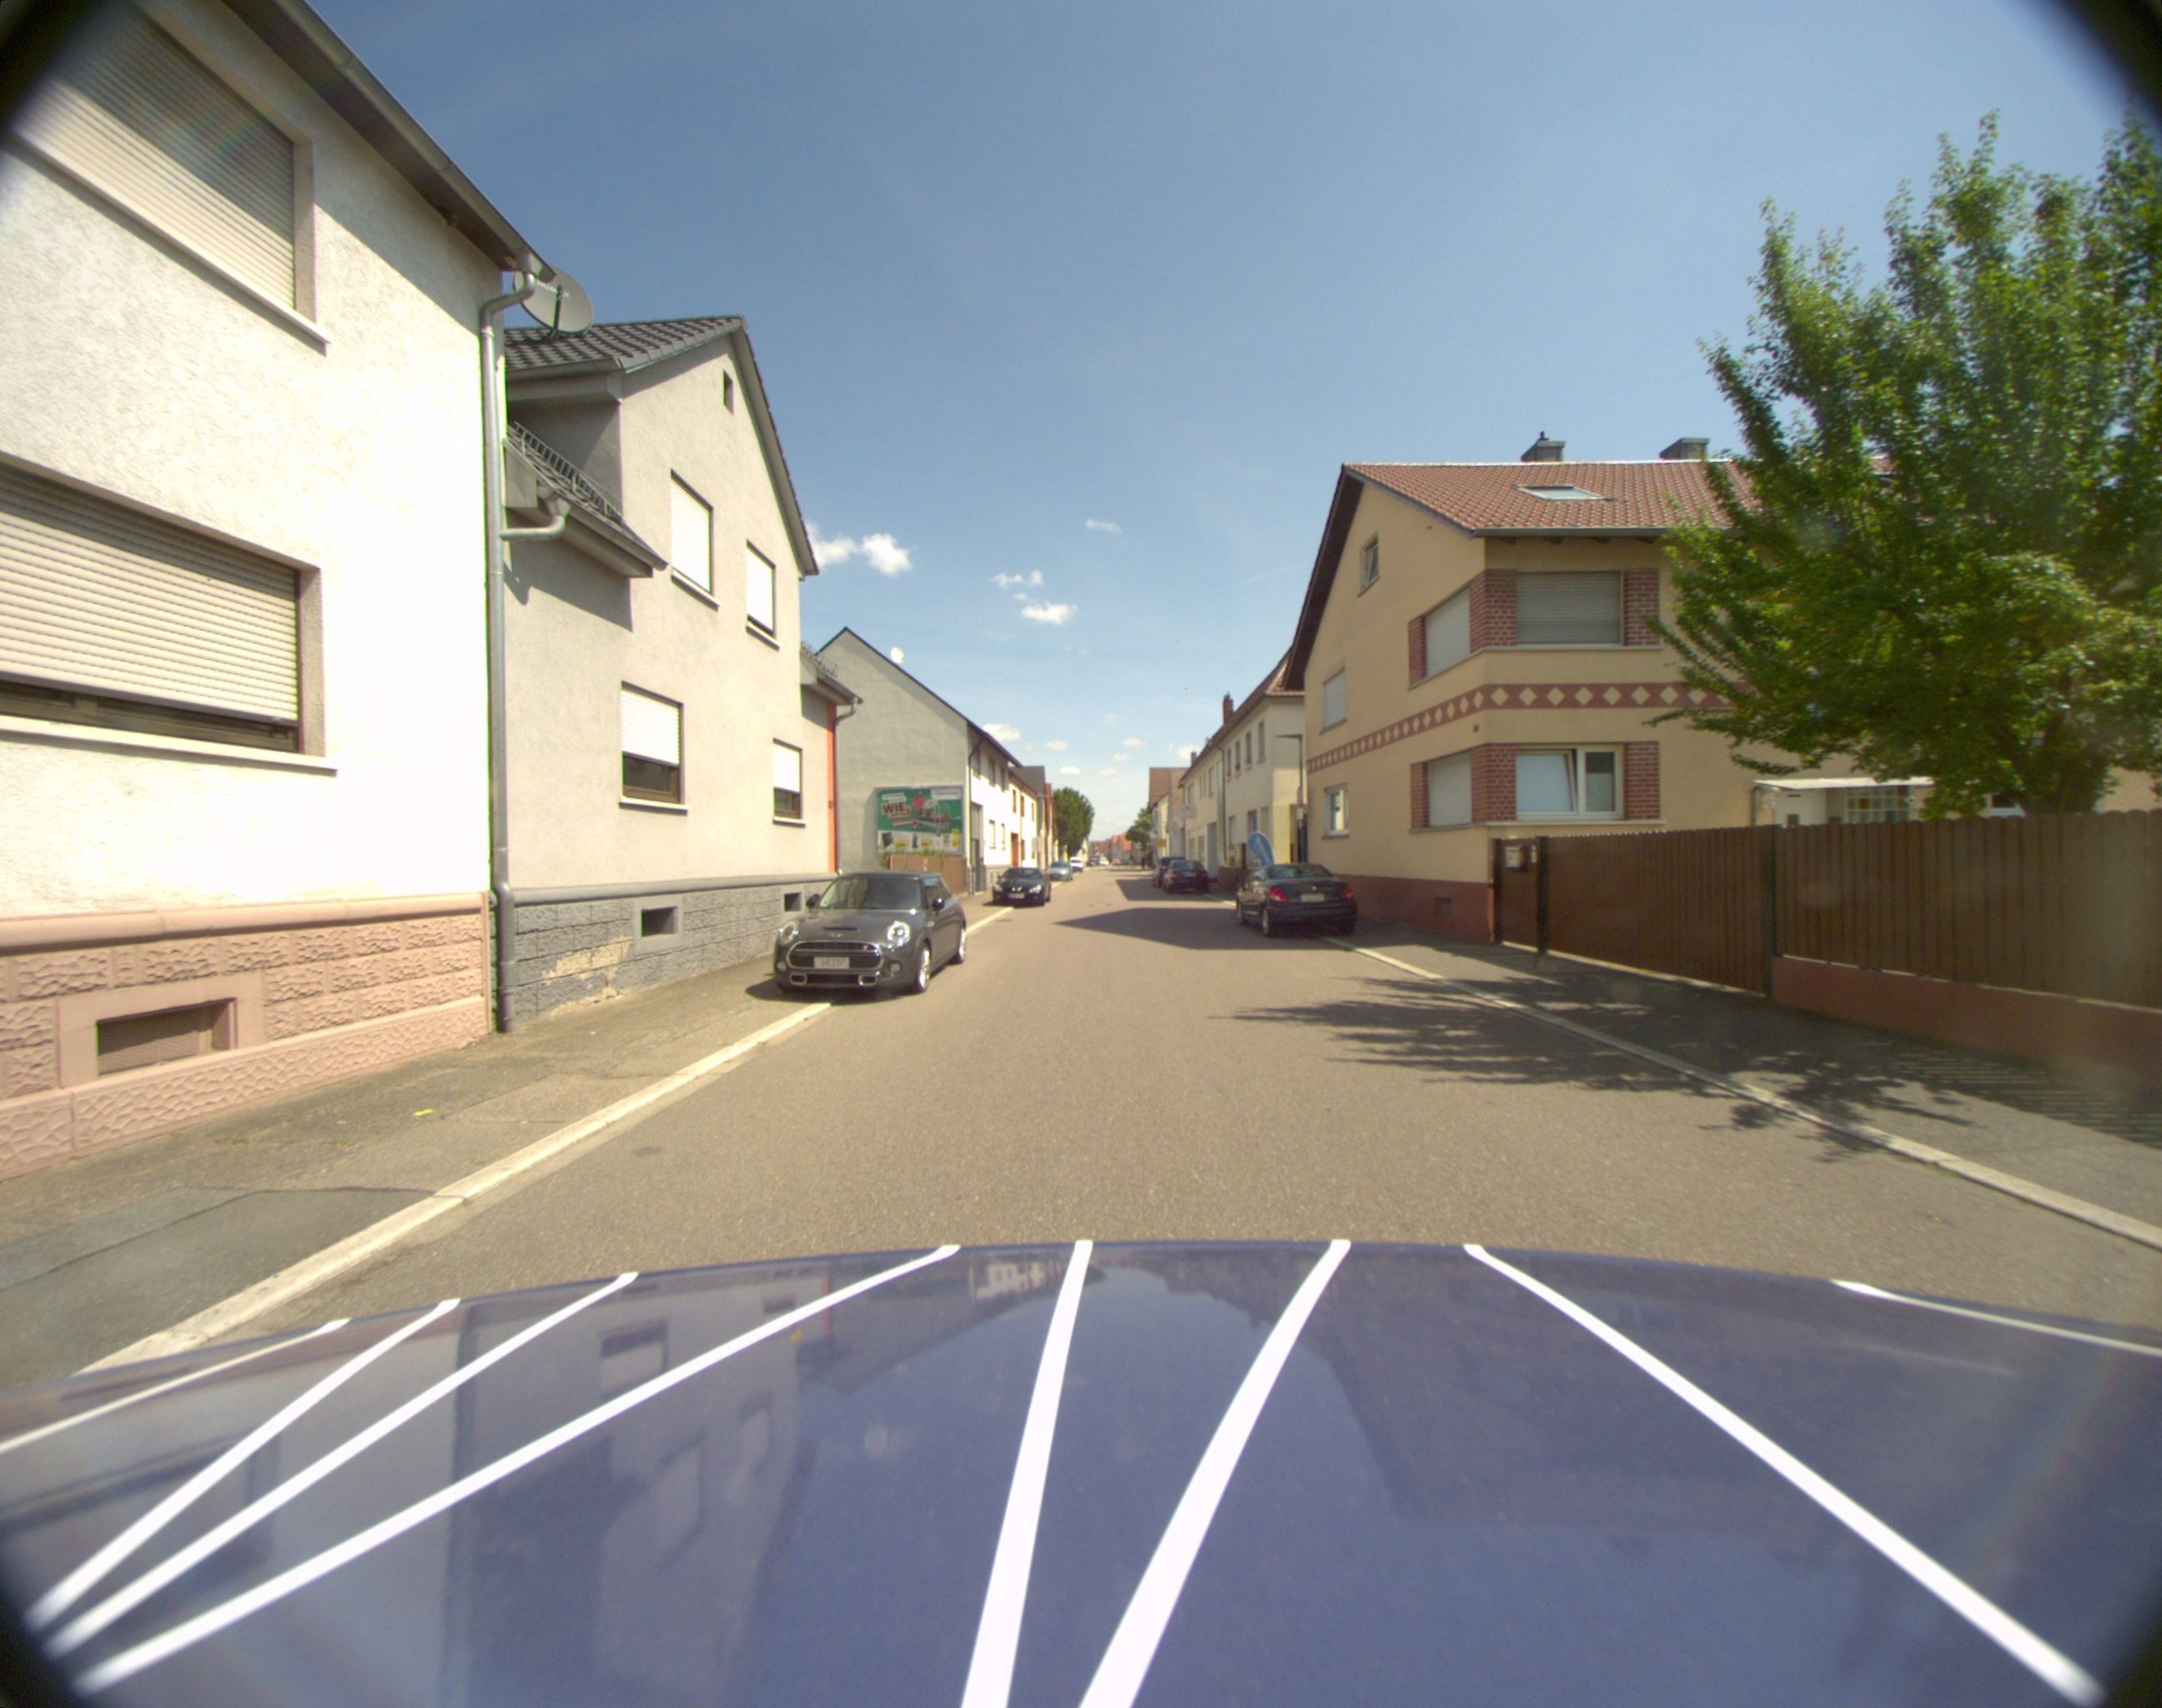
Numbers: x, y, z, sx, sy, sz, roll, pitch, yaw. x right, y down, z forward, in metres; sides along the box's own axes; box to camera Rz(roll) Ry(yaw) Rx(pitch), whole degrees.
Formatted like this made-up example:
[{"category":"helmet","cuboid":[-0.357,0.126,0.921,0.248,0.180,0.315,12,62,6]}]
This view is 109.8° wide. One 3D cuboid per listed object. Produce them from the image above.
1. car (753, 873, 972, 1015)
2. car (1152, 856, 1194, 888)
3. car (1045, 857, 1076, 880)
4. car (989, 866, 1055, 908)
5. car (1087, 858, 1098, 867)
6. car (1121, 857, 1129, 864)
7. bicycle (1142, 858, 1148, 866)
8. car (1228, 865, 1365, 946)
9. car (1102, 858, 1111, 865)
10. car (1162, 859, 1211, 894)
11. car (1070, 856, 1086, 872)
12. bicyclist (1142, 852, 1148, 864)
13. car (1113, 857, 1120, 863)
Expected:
[{"category":"car","cuboid":[-2.608,1.017,9.974,1.692,1.414,3.657,-1,0,2]},{"category":"car","cuboid":[4.842,0.913,40.476,1.721,1.630,4.149,1,0,1]},{"category":"car","cuboid":[-1.461,1.016,55.047,1.725,1.473,3.751,2,0,6]},{"category":"car","cuboid":[-1.980,1.103,26.808,1.820,1.268,4.147,-1,0,3]},{"category":"car","cuboid":[2.124,1.518,137.647,1.597,1.533,4.201,-2,0,4]},{"category":"car","cuboid":[9.956,1.426,170.190,1.726,1.385,4.171,-1,-2,3]},{"category":"bicycle","cuboid":[8.640,1.029,102.366,0.744,1.041,1.941,-1,0,5]},{"category":"car","cuboid":[4.326,0.971,15.904,1.765,1.366,4.066,-2,0,1]},{"category":"car","cuboid":[5.857,1.730,177.339,1.848,1.385,4.170,-1,-2,-1]},{"category":"car","cuboid":[4.647,0.972,33.869,1.701,1.403,4.390,-1,0,2]},{"category":"car","cuboid":[-0.304,1.197,91.561,1.692,1.831,4.765,2,0,2]},{"category":"bicyclist","cuboid":[8.632,0.503,102.377,0.748,1.627,0.957,-1,0,5]},{"category":"car","cuboid":[8.733,1.360,184.879,1.598,1.385,4.169,-2,0,2]}]
